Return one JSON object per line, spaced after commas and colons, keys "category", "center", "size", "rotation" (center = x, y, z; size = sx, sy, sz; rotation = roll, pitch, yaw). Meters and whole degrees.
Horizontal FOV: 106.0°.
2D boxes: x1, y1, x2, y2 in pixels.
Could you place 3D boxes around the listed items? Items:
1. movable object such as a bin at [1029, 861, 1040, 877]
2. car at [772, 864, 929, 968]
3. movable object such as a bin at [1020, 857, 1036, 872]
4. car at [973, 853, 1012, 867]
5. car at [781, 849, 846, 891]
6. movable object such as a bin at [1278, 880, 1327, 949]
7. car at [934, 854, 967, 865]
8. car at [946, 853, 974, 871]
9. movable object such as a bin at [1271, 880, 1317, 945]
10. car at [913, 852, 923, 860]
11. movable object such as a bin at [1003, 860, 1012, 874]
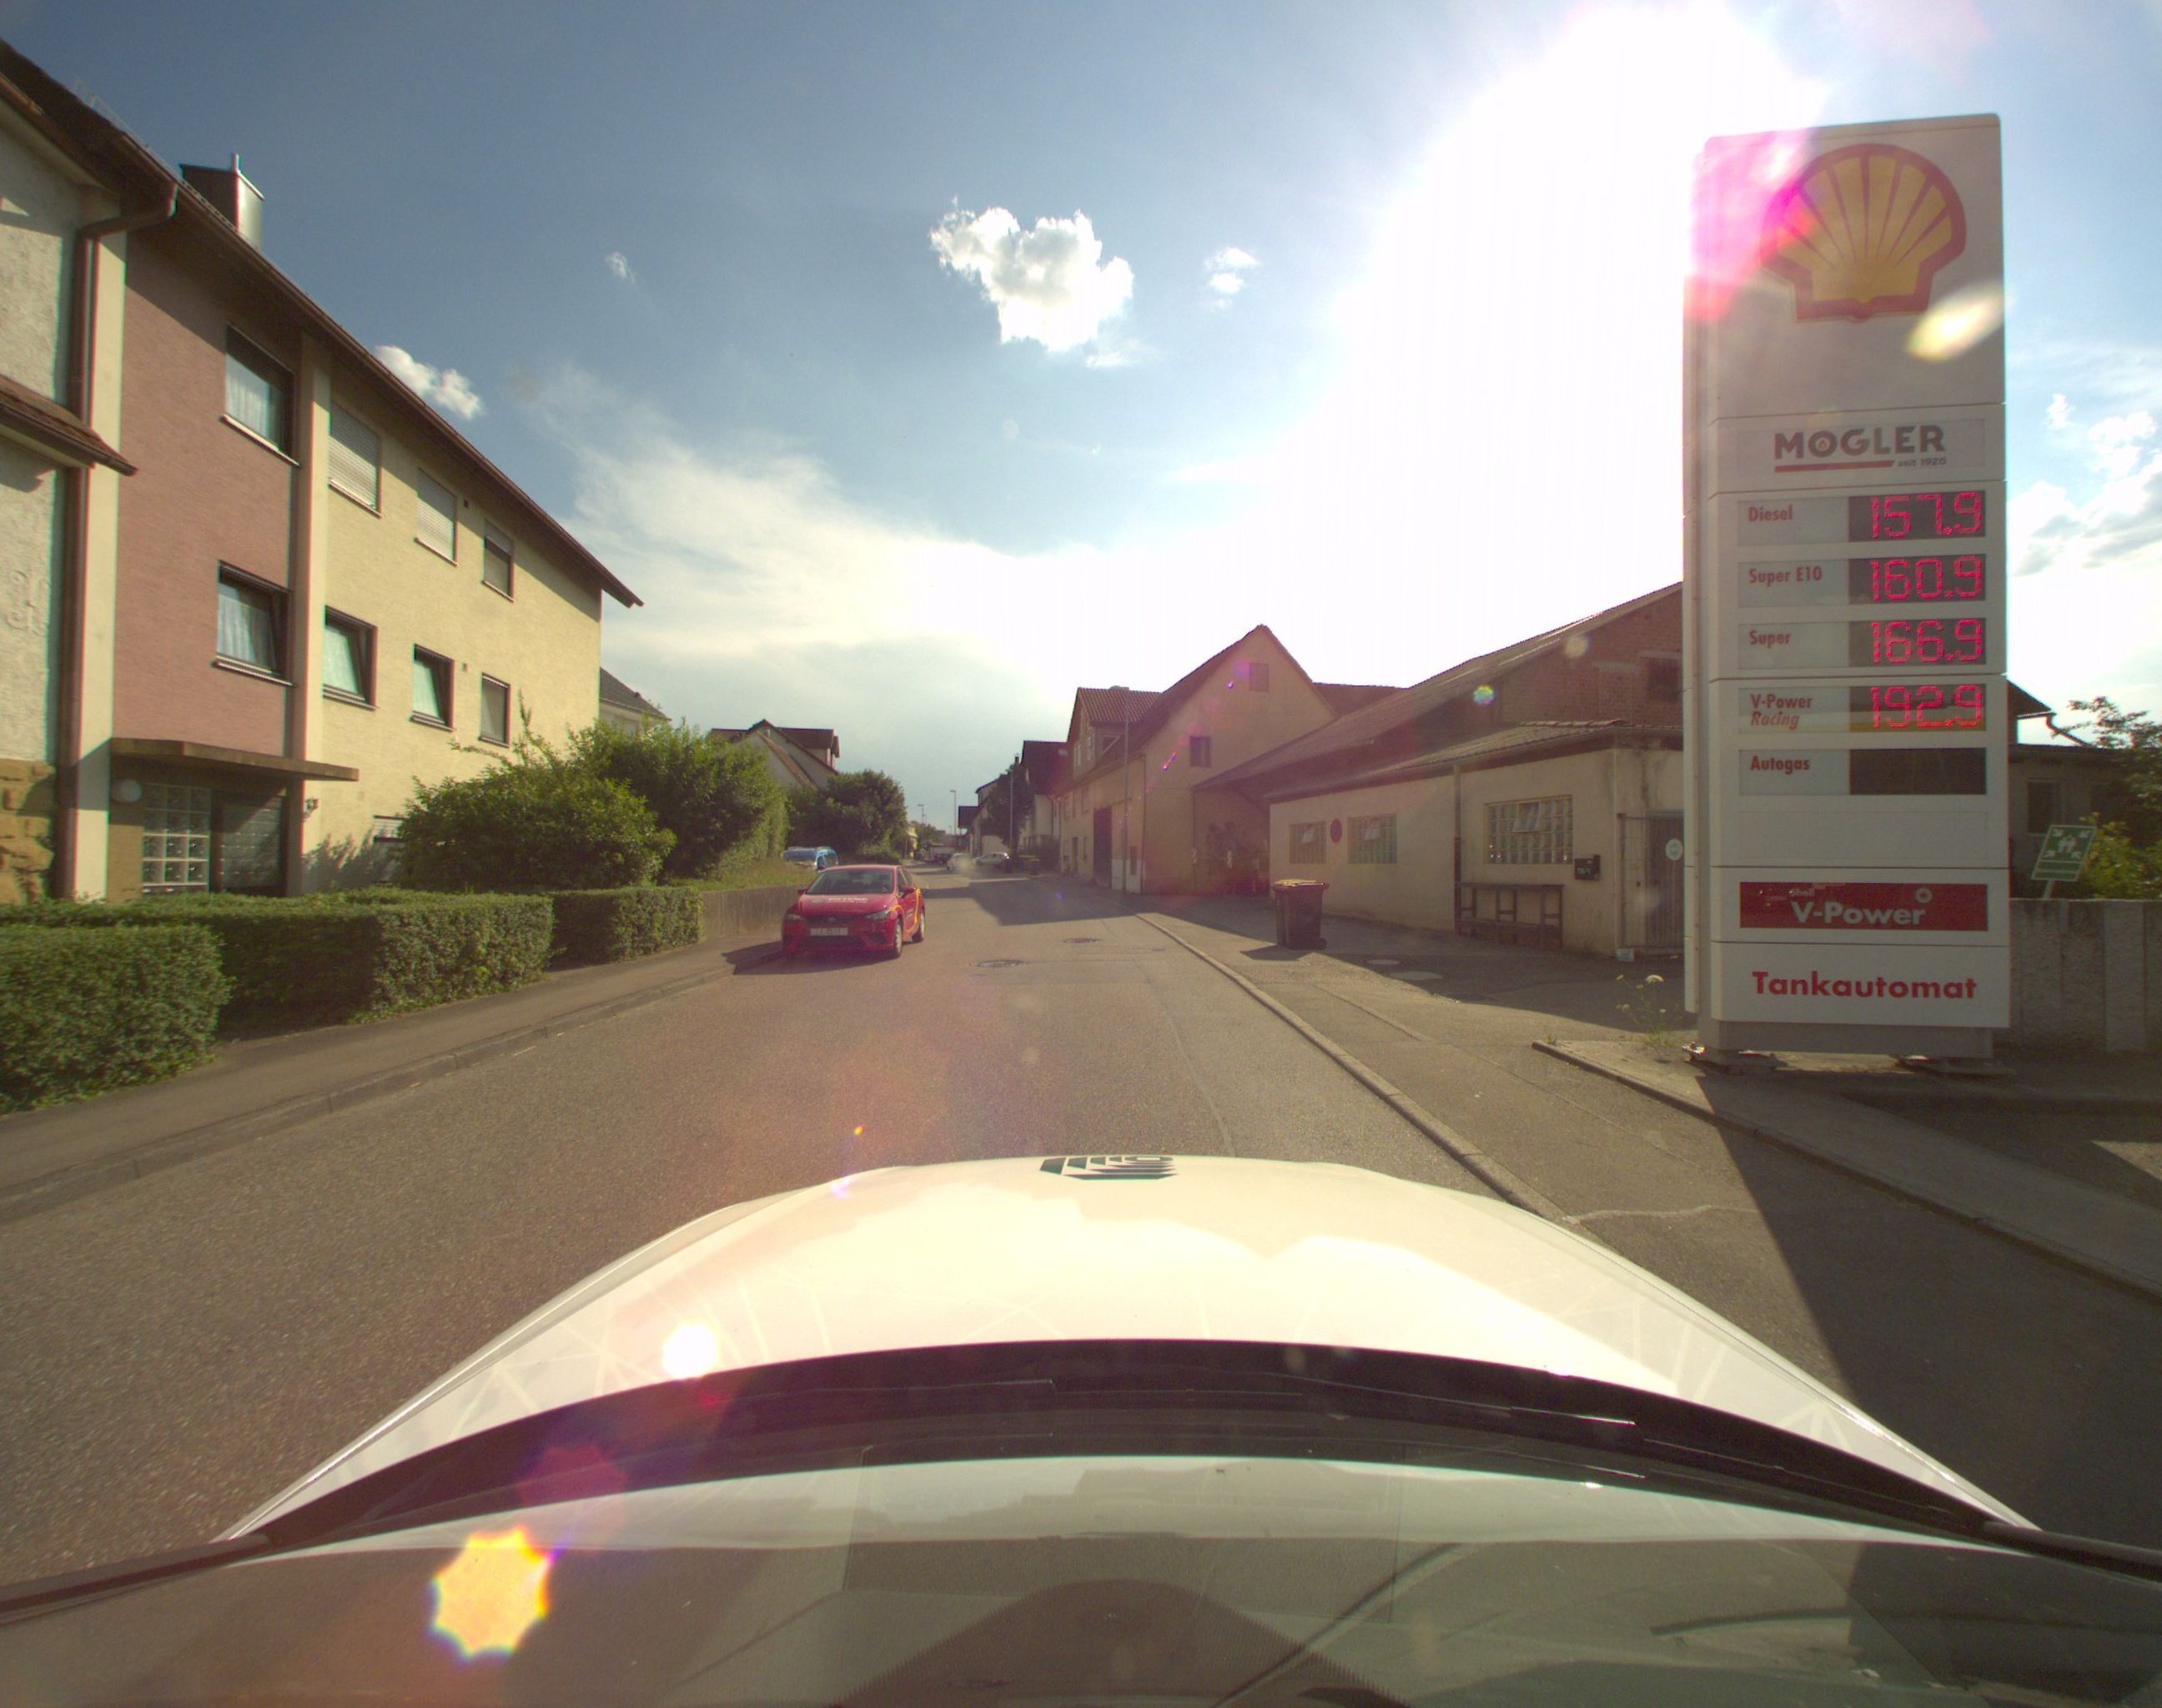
{"category": "movable object such as a bin", "center": [-3.023, 0.969, 52.523], "size": [0.653, 1.073, 0.511], "rotation": [0, -1, -12]}
{"category": "car", "center": [-3.664, 0.916, 13.624], "size": [1.705, 1.435, 3.775], "rotation": [-2, -1, -3]}
{"category": "movable object such as a bin", "center": [-4.086, 0.783, 62.522], "size": [1.160, 1.168, 0.653], "rotation": [0, -1, -9]}
{"category": "car", "center": [-9.026, 0.603, 83.298], "size": [3.981, 1.352, 1.707], "rotation": [0, 0, -5]}
{"category": "car", "center": [-9.338, 0.551, 28.635], "size": [1.356, 1.372, 3.192], "rotation": [-2, -1, -3]}
{"category": "movable object such as a bin", "center": [3.577, 0.970, 13.191], "size": [0.650, 1.073, 0.513], "rotation": [0, -1, 1]}
{"category": "car", "center": [-16.439, 0.680, 102.437], "size": [3.989, 1.352, 1.704], "rotation": [0, 0, -12]}
{"category": "car", "center": [-10.943, 0.693, 73.620], "size": [1.711, 1.578, 3.973], "rotation": [0, 0, -20]}
{"category": "movable object such as a bin", "center": [3.587, 0.977, 13.740], "size": [0.650, 1.073, 0.513], "rotation": [0, -1, 1]}
{"category": "car", "center": [-30.133, 0.393, 150.733], "size": [1.705, 1.551, 3.985], "rotation": [0, 0, -11]}
{"category": "movable object such as a bin", "center": [-5.540, 0.994, 61.276], "size": [0.653, 1.073, 0.511], "rotation": [0, -1, -12]}
